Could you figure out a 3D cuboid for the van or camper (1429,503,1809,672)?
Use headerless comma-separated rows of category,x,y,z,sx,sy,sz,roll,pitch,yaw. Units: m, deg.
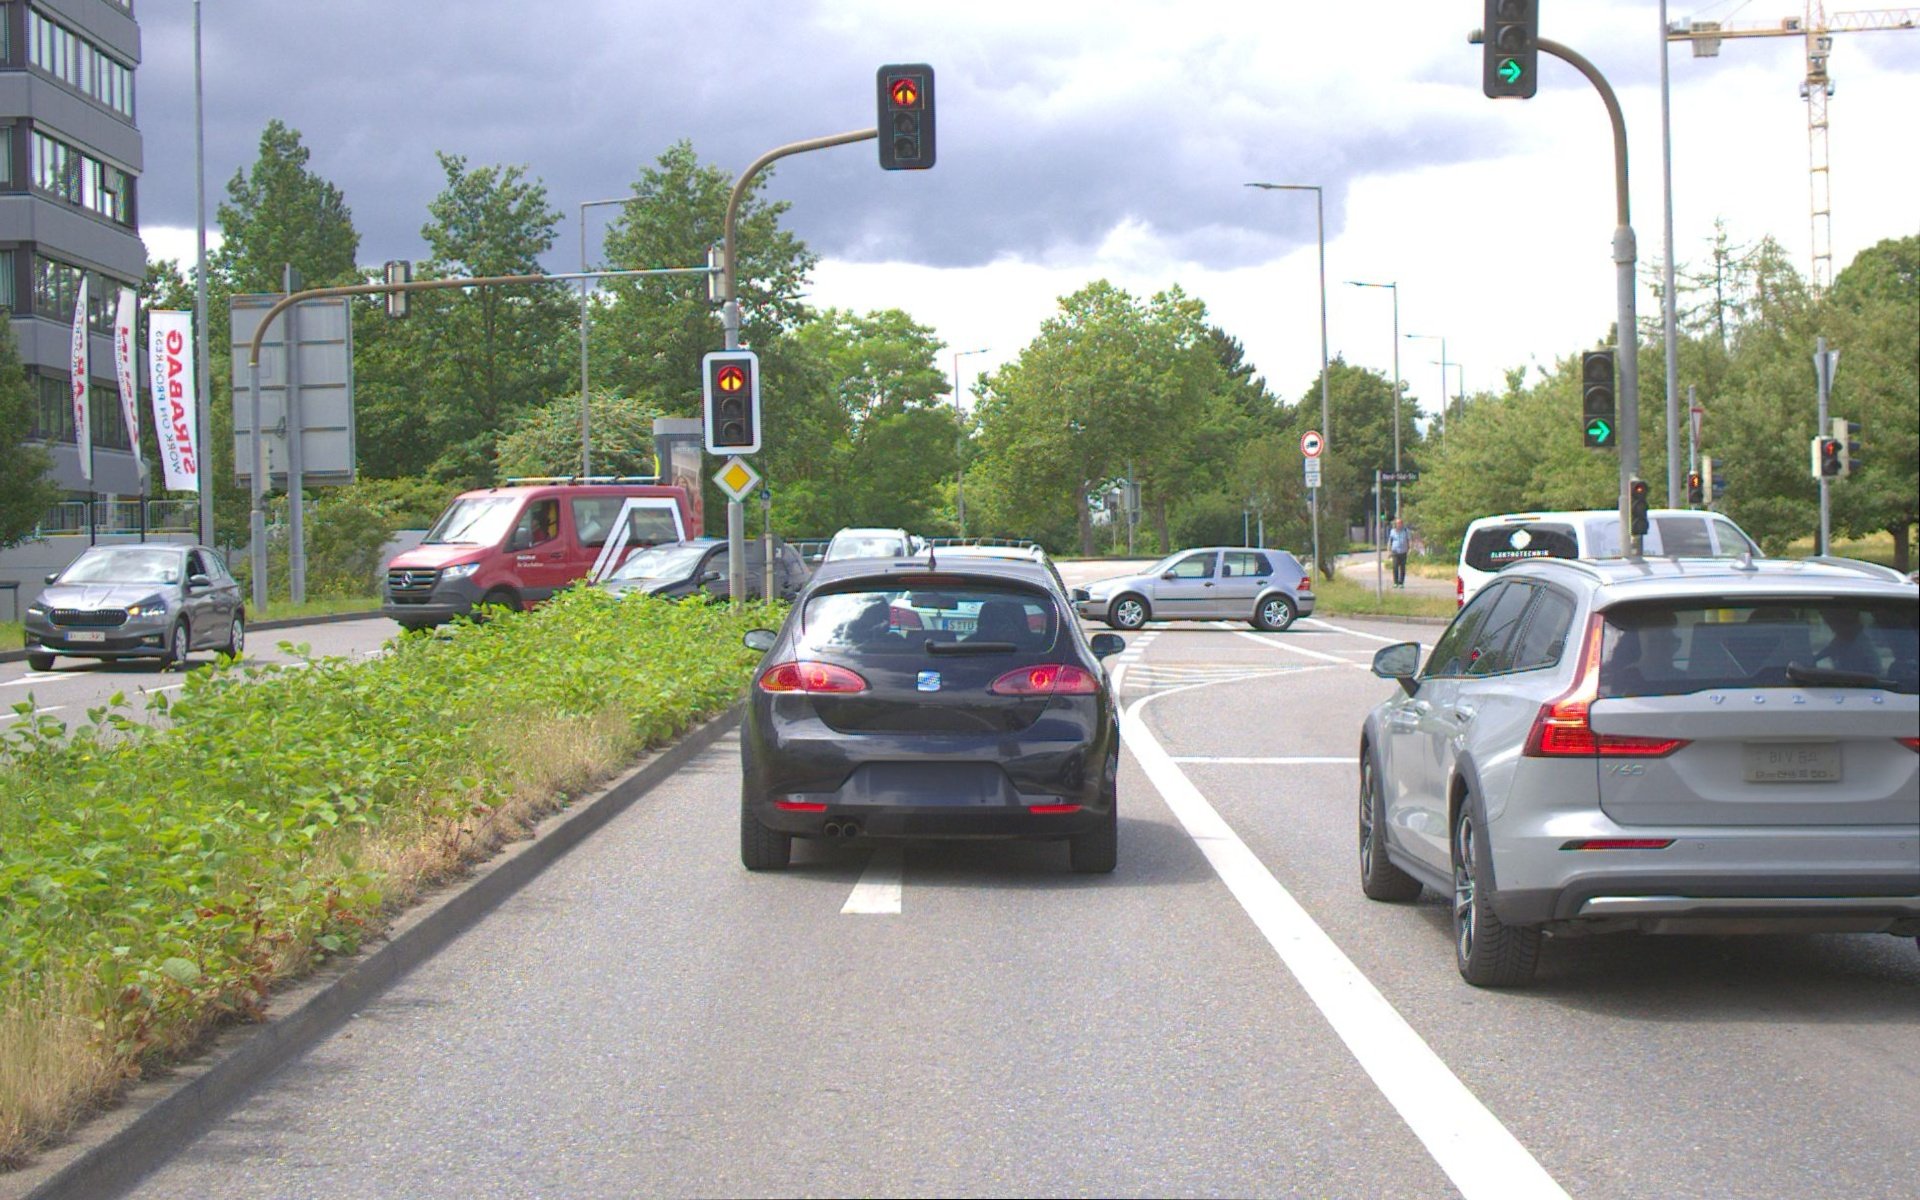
van or camper,7.735,-0.189,40.020,1.998,1.853,4.931,0,1,43

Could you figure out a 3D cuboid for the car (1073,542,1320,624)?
car,4.045,-0.303,59.173,3.986,1.349,2.000,0,1,-5

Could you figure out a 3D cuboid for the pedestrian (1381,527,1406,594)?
pedestrian,11.205,-1.016,88.856,0.559,1.720,0.588,1,1,1

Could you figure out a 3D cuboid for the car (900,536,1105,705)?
car,0.354,0.151,32.733,1.773,1.486,3.583,-1,1,-2

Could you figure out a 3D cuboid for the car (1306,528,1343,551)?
car,21.358,-3.565,201.527,1.994,1.347,3.999,0,1,9

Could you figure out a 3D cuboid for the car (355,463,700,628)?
car,-6.565,-0.849,52.731,1.998,2.404,5.228,0,1,41

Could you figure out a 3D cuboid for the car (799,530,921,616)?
car,-1.883,-0.546,65.961,1.994,1.590,4.000,0,1,4

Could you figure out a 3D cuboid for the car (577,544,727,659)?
car,-4.152,-0.019,46.821,1.678,1.477,4.000,0,1,0

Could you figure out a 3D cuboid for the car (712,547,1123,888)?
car,-0.174,0.483,16.733,1.773,1.447,3.582,1,1,0

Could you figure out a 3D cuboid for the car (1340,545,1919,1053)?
car,2.567,0.581,12.835,1.863,1.513,4.446,-1,1,1

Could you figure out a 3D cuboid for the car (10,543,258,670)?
car,-9.543,0.040,40.021,1.932,1.393,4.000,0,1,0
